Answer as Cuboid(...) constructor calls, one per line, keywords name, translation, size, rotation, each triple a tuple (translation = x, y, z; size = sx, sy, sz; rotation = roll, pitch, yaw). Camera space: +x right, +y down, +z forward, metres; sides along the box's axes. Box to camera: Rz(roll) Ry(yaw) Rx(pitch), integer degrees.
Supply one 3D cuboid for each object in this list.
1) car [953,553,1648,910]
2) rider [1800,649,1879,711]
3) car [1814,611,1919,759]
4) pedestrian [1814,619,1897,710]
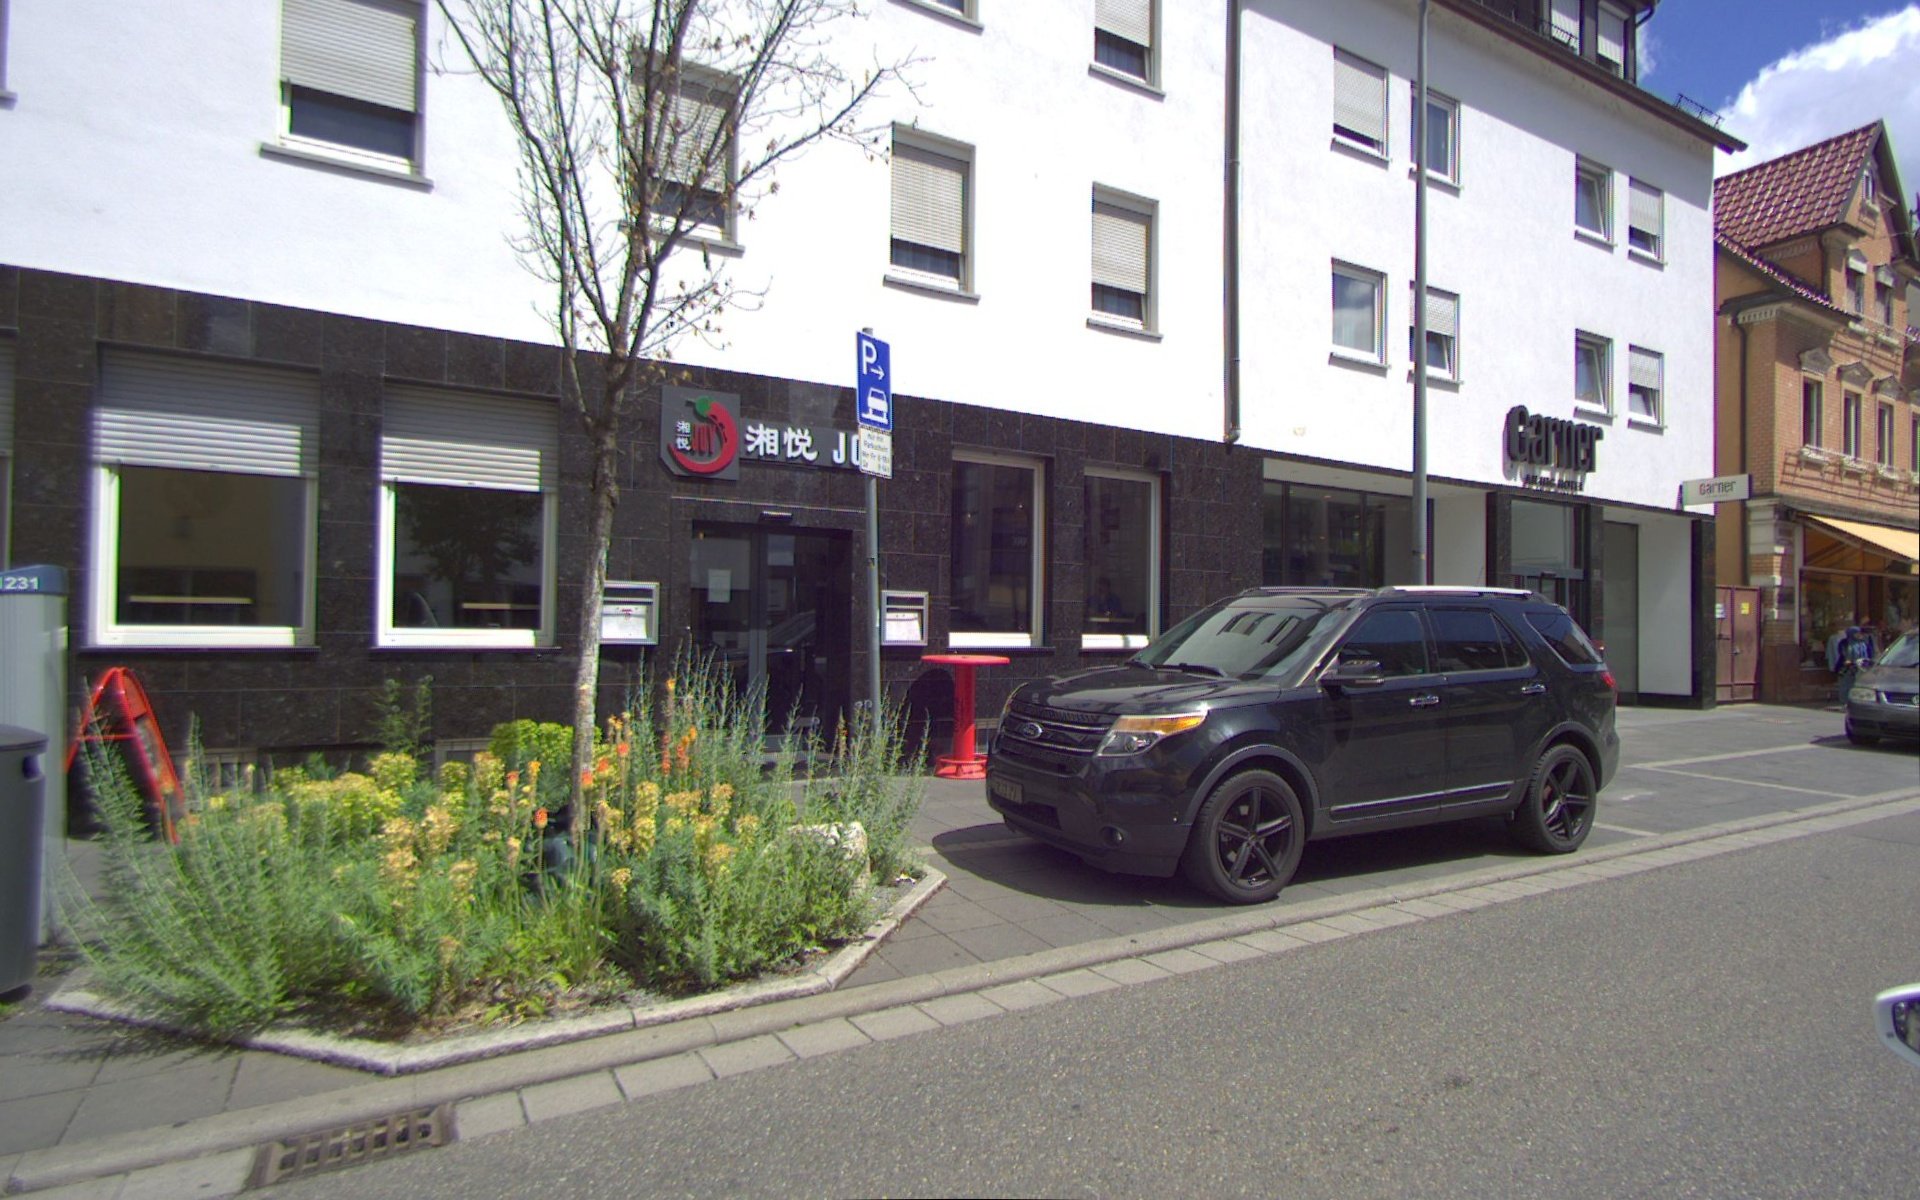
Cuboid(name="car", translation=(2.421, 0.718, 6.885), size=(4.609, 1.778, 1.809), rotation=(2, 0, -27))
Cuboid(name="rider", translation=(15.787, 1.423, 18.044), size=(0.693, 1.027, 0.805), rotation=(2, 0, -7))
Cuboid(name="car", translation=(13.531, 1.108, 13.383), size=(4.409, 1.778, 1.808), rotation=(2, 0, -29))
Cuboid(name="pedestrian", translation=(16.335, 1.161, 18.345), size=(0.765, 1.595, 0.806), rotation=(2, 0, -11))
